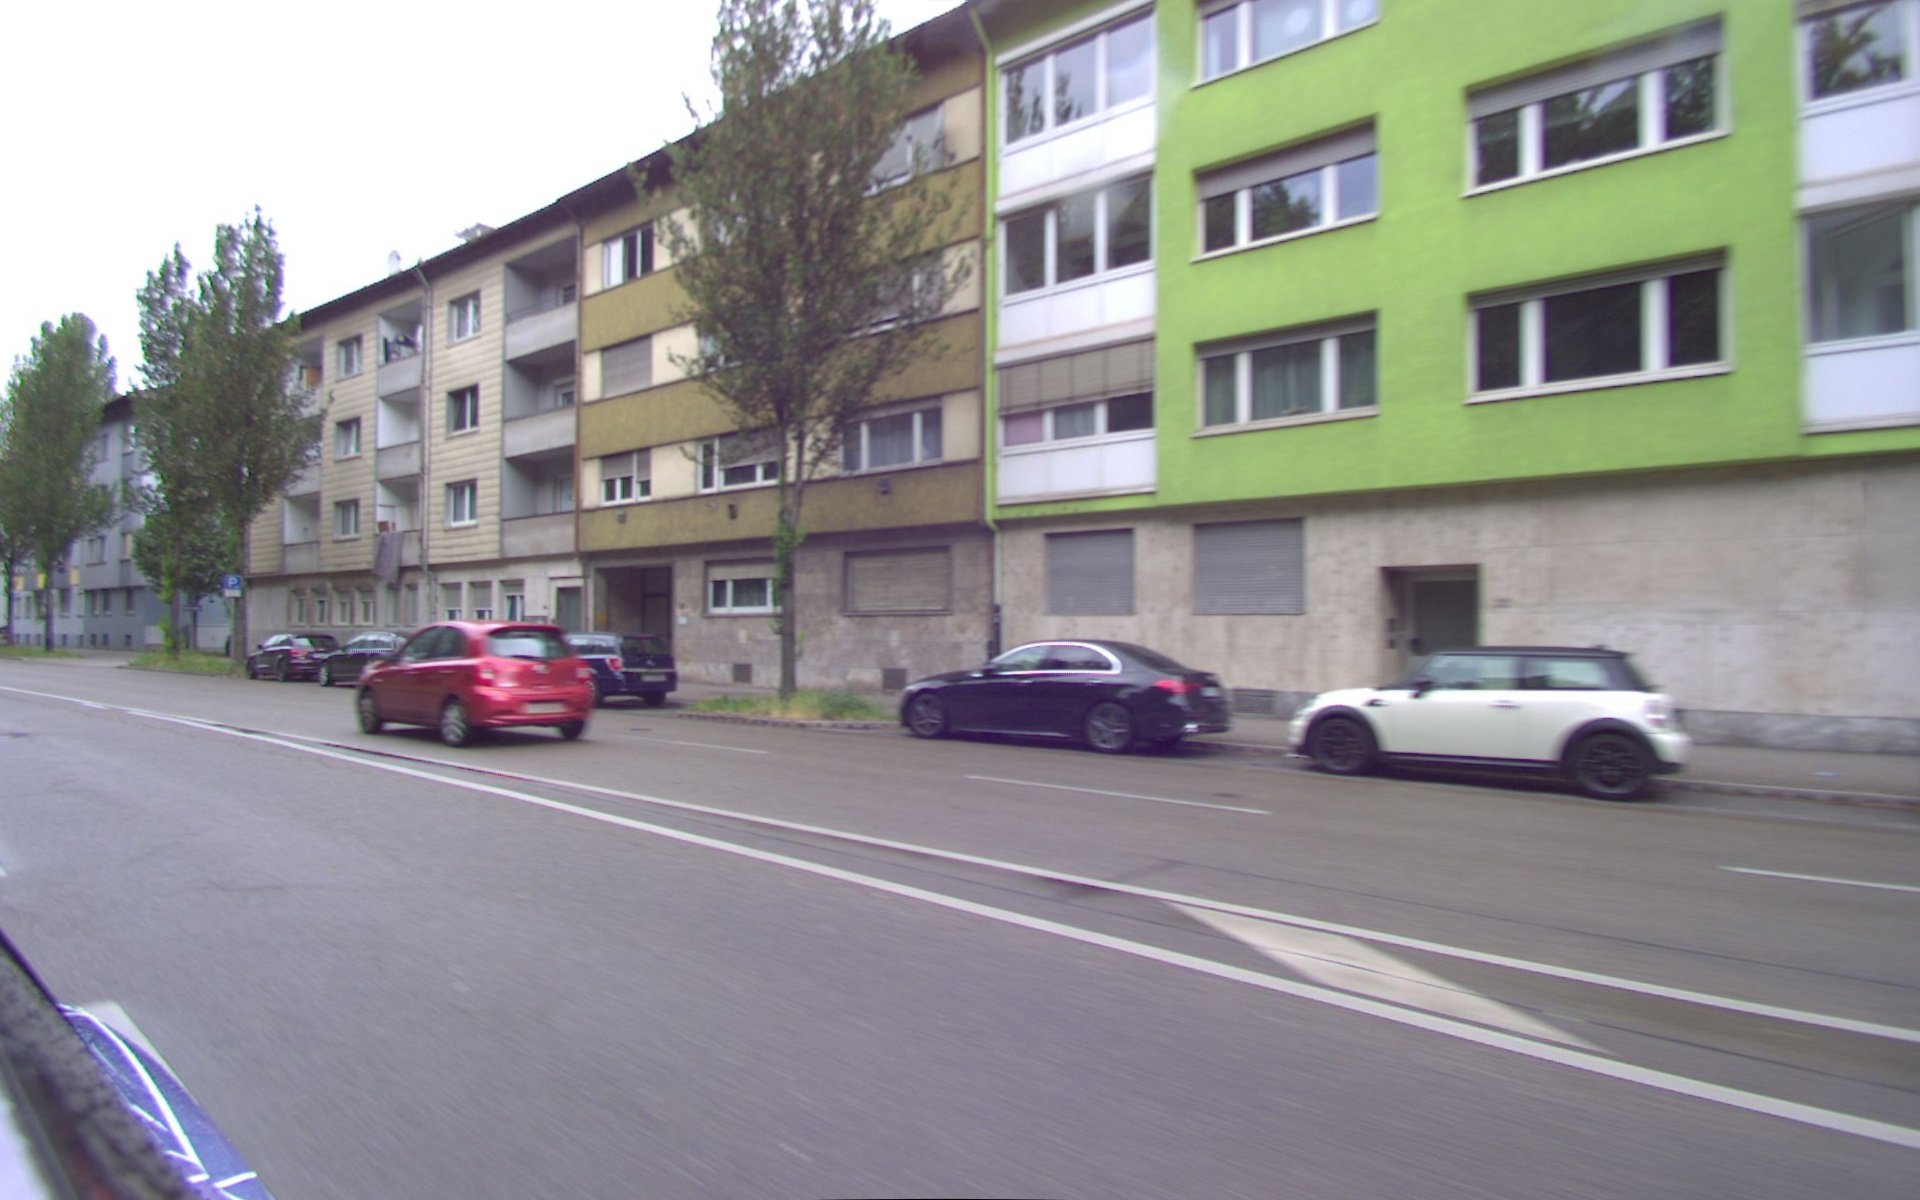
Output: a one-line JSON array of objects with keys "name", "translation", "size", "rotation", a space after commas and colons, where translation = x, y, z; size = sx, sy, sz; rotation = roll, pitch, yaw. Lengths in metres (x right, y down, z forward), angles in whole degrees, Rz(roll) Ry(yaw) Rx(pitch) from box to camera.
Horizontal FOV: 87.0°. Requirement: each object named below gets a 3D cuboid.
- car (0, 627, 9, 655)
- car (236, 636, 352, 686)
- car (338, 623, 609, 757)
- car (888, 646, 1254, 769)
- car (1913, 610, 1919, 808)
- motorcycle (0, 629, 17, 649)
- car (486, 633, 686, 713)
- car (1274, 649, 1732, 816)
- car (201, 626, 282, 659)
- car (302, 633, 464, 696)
[{"name": "car", "translation": [-52.154, 2.166, 53.496], "size": [4.192, 1.464, 1.710], "rotation": [-1, -3, 33]}, {"name": "car", "translation": [-19.767, 1.779, 29.980], "size": [3.981, 1.397, 1.611], "rotation": [-2, -3, 37]}, {"name": "car", "translation": [-6.345, 1.068, 13.070], "size": [3.675, 1.489, 1.690], "rotation": [-1, -3, 38]}, {"name": "car", "translation": [1.391, 1.346, 13.709], "size": [4.671, 1.383, 1.801], "rotation": [-1, -4, 36]}, {"name": "car", "translation": [9.958, 0.916, 7.091], "size": [4.596, 1.780, 1.872], "rotation": [-1, -4, 39]}, {"name": "motorcycle", "translation": [-67.579, 2.740, 71.422], "size": [2.222, 1.424, 0.672], "rotation": [-1, 0, 24]}, {"name": "car", "translation": [-7.842, 1.461, 21.036], "size": [4.507, 1.500, 1.702], "rotation": [-2, -4, 37]}, {"name": "car", "translation": [5.529, 1.245, 10.559], "size": [3.994, 1.386, 1.664], "rotation": [-1, -5, 38]}, {"name": "car", "translation": [-35.544, 2.105, 50.191], "size": [1.685, 1.505, 4.008], "rotation": [2, -3, -10]}, {"name": "car", "translation": [-15.024, 1.640, 26.274], "size": [4.779, 1.500, 1.801], "rotation": [-1, -4, 36]}]
